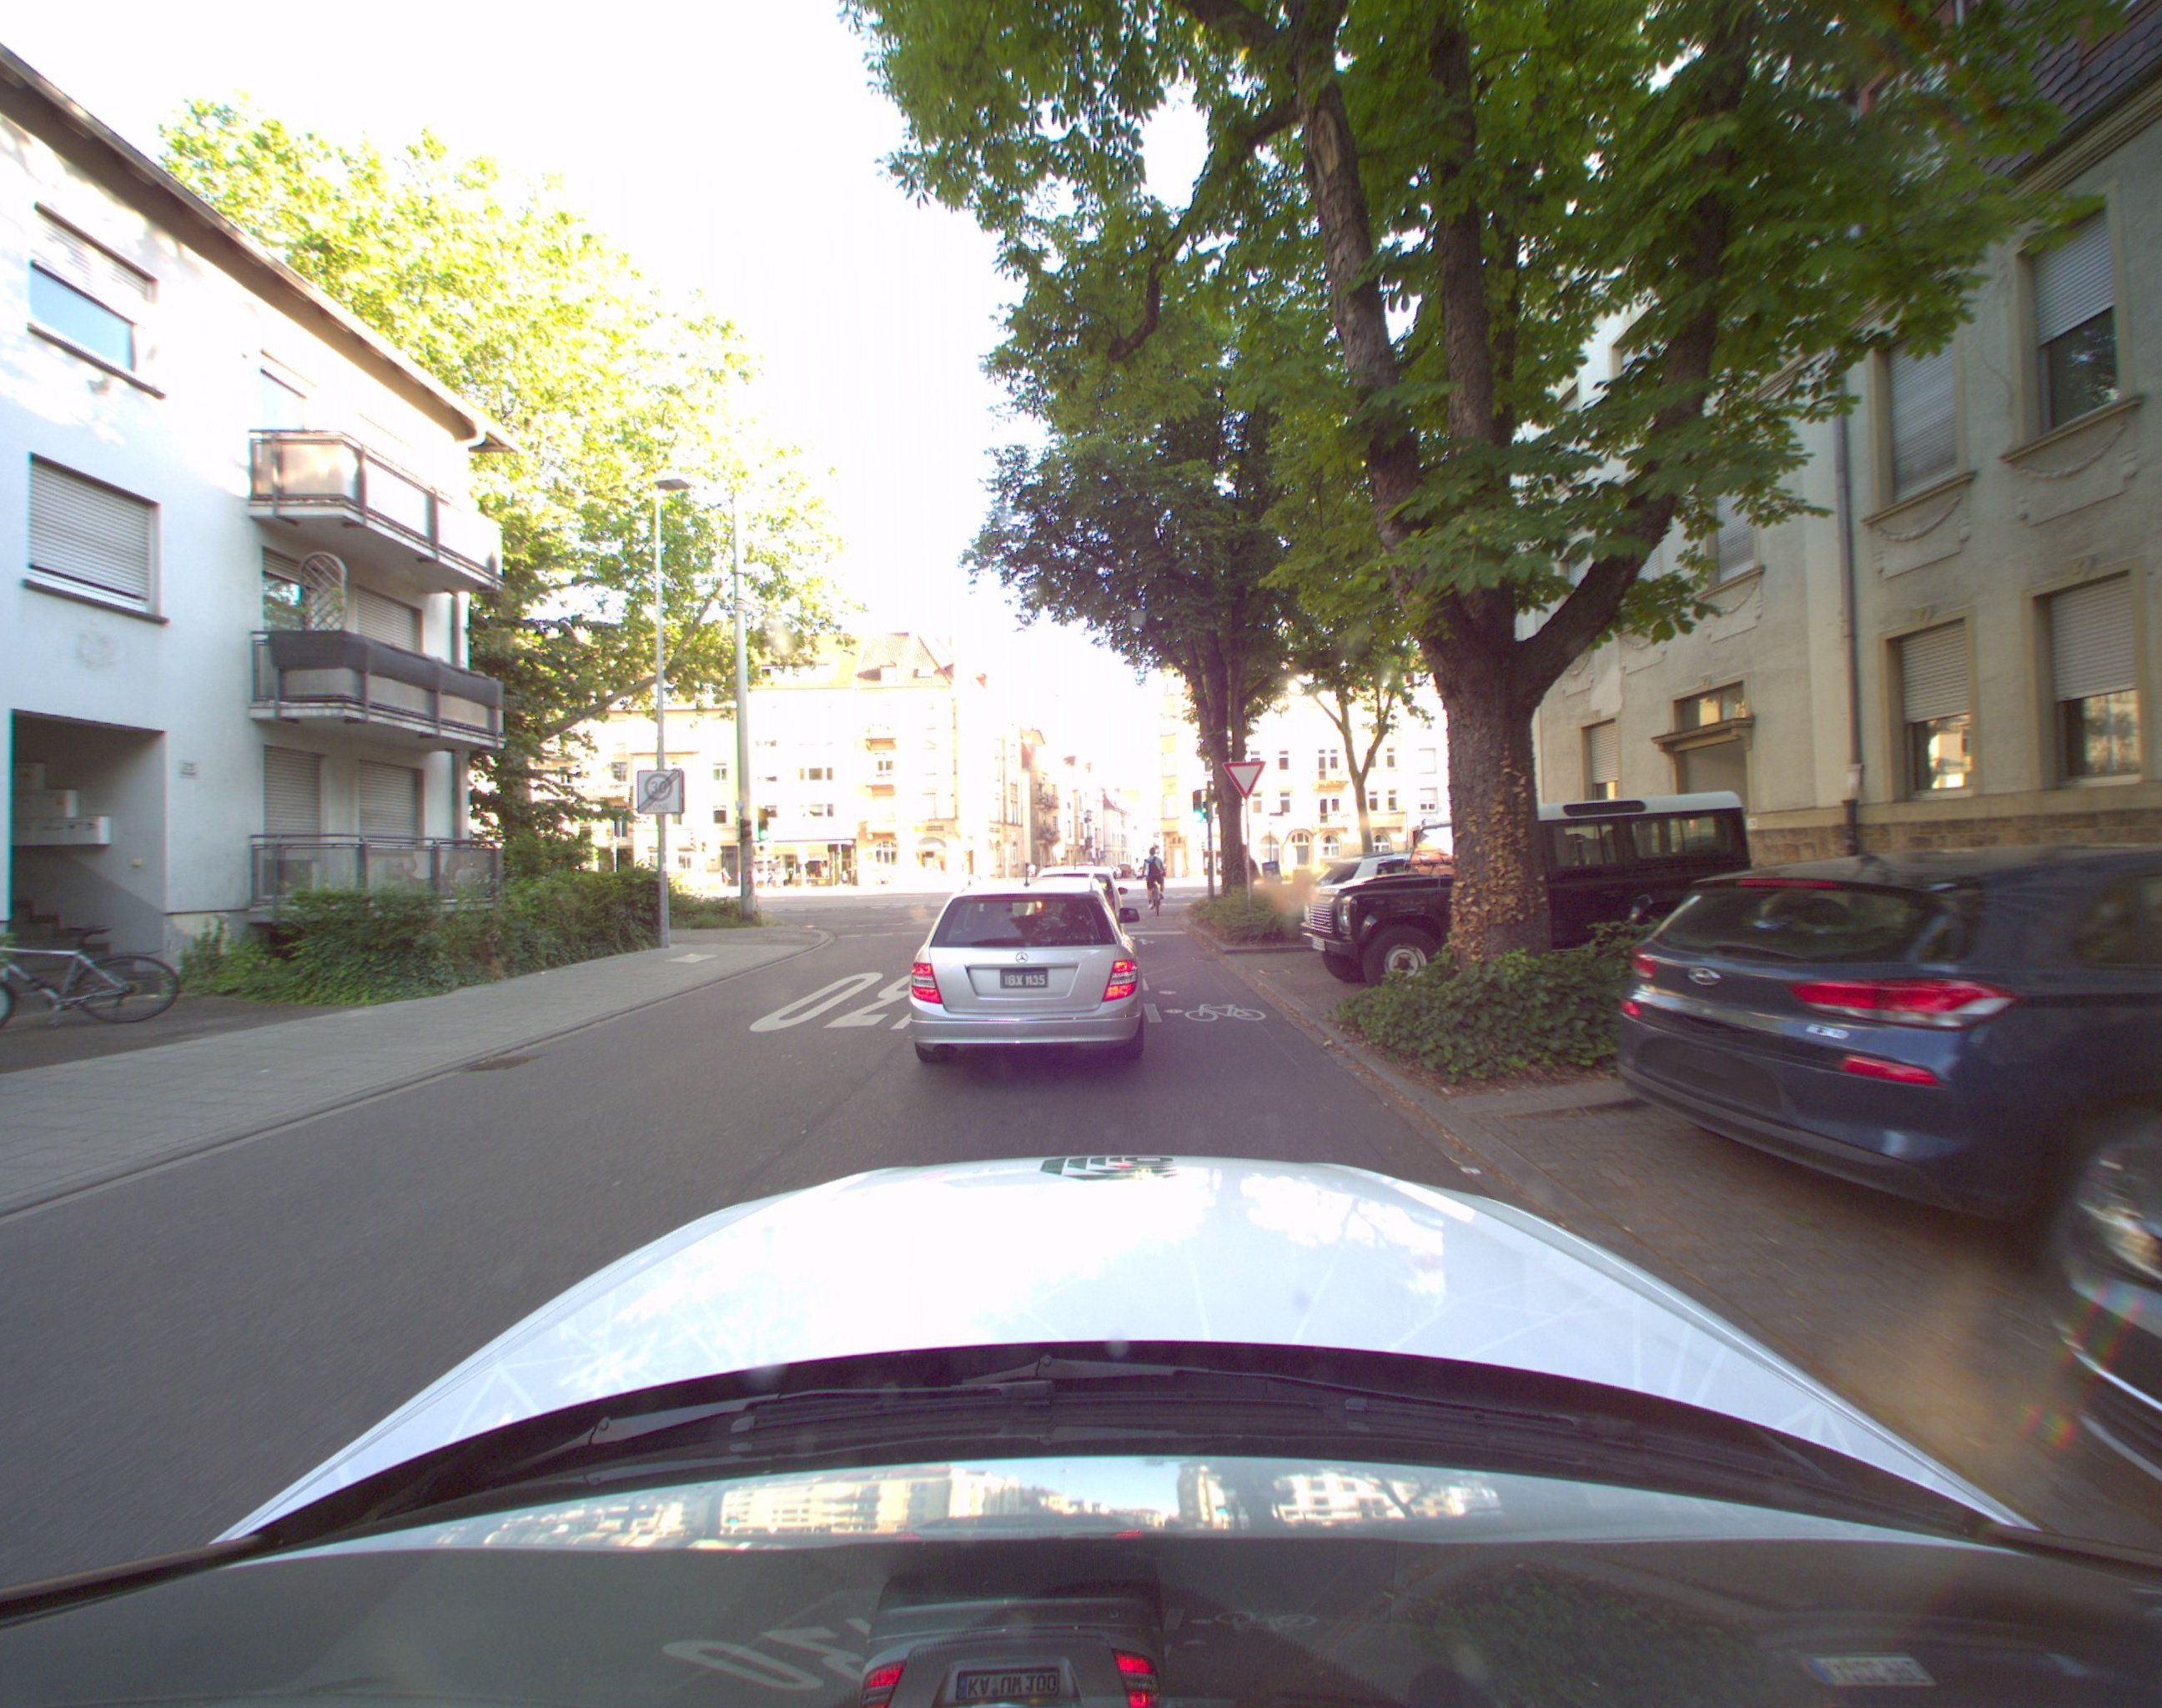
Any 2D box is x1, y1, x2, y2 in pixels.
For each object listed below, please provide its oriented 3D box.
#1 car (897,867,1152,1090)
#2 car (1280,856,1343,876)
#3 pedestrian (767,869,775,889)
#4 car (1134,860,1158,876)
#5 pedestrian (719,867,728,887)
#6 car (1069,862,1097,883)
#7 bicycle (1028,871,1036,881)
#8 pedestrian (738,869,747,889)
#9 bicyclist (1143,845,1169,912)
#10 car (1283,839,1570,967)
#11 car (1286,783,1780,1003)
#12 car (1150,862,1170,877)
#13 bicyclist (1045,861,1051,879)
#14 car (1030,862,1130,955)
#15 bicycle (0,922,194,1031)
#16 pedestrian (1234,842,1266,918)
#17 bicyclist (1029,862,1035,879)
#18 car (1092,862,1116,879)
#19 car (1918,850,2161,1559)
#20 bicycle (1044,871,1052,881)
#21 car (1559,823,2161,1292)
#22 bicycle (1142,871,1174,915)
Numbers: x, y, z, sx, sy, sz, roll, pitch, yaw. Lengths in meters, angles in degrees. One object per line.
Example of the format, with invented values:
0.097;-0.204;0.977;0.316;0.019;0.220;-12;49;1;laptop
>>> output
-0.381;0.852;7.158;1.685;1.429;3.491;0;0;0;car
13.624;0.709;48.323;3.352;1.069;1.380;-2;-1;1;car
-24.349;1.949;63.950;0.474;1.511;0.428;-1;-1;-18;pedestrian
6.819;1.467;84.868;1.708;1.478;4.016;-4;0;15;car
-27.713;1.792;63.122;0.566;1.511;0.499;-1;-1;-17;pedestrian
0.210;1.747;78.428;1.925;1.959;4.162;-2;0;10;car
-4.183;1.903;69.959;0.567;0.834;1.565;-1;0;-1;bicycle
-26.586;1.969;64.000;0.507;1.511;0.536;-1;-1;-4;pedestrian
2.047;0.661;22.296;0.644;1.775;0.831;0;-1;2;bicyclist
4.975;0.670;12.025;3.474;1.586;1.708;-3;-1;-4;car
4.811;0.395;9.143;4.477;1.956;1.792;-3;-1;-1;car
9.794;1.907;100.954;1.708;1.478;4.016;-6;-1;15;car
-2.853;1.389;70.403;0.465;1.521;0.693;-1;-1;-1;bicyclist
0.008;0.861;14.433;1.528;1.391;3.599;-1;0;1;car
-9.991;1.196;8.118;1.469;0.975;0.402;2;-2;-38;bicycle
4.194;0.628;20.229;0.630;1.845;0.574;-1;-1;-2;pedestrian
-4.192;1.411;69.977;0.465;1.514;0.655;-1;-1;-1;bicyclist
2.465;1.774;86.909;1.675;1.722;4.014;-2;0;13;car
4.181;0.603;1.282;4.037;1.422;1.627;-3;-1;-1;car
-2.839;1.867;70.370;0.567;0.834;1.565;-1;0;-1;bicycle
4.413;0.604;3.484;3.738;1.422;1.627;-3;-1;-1;car
2.082;1.032;22.265;0.739;1.118;2.014;0;0;2;bicycle
